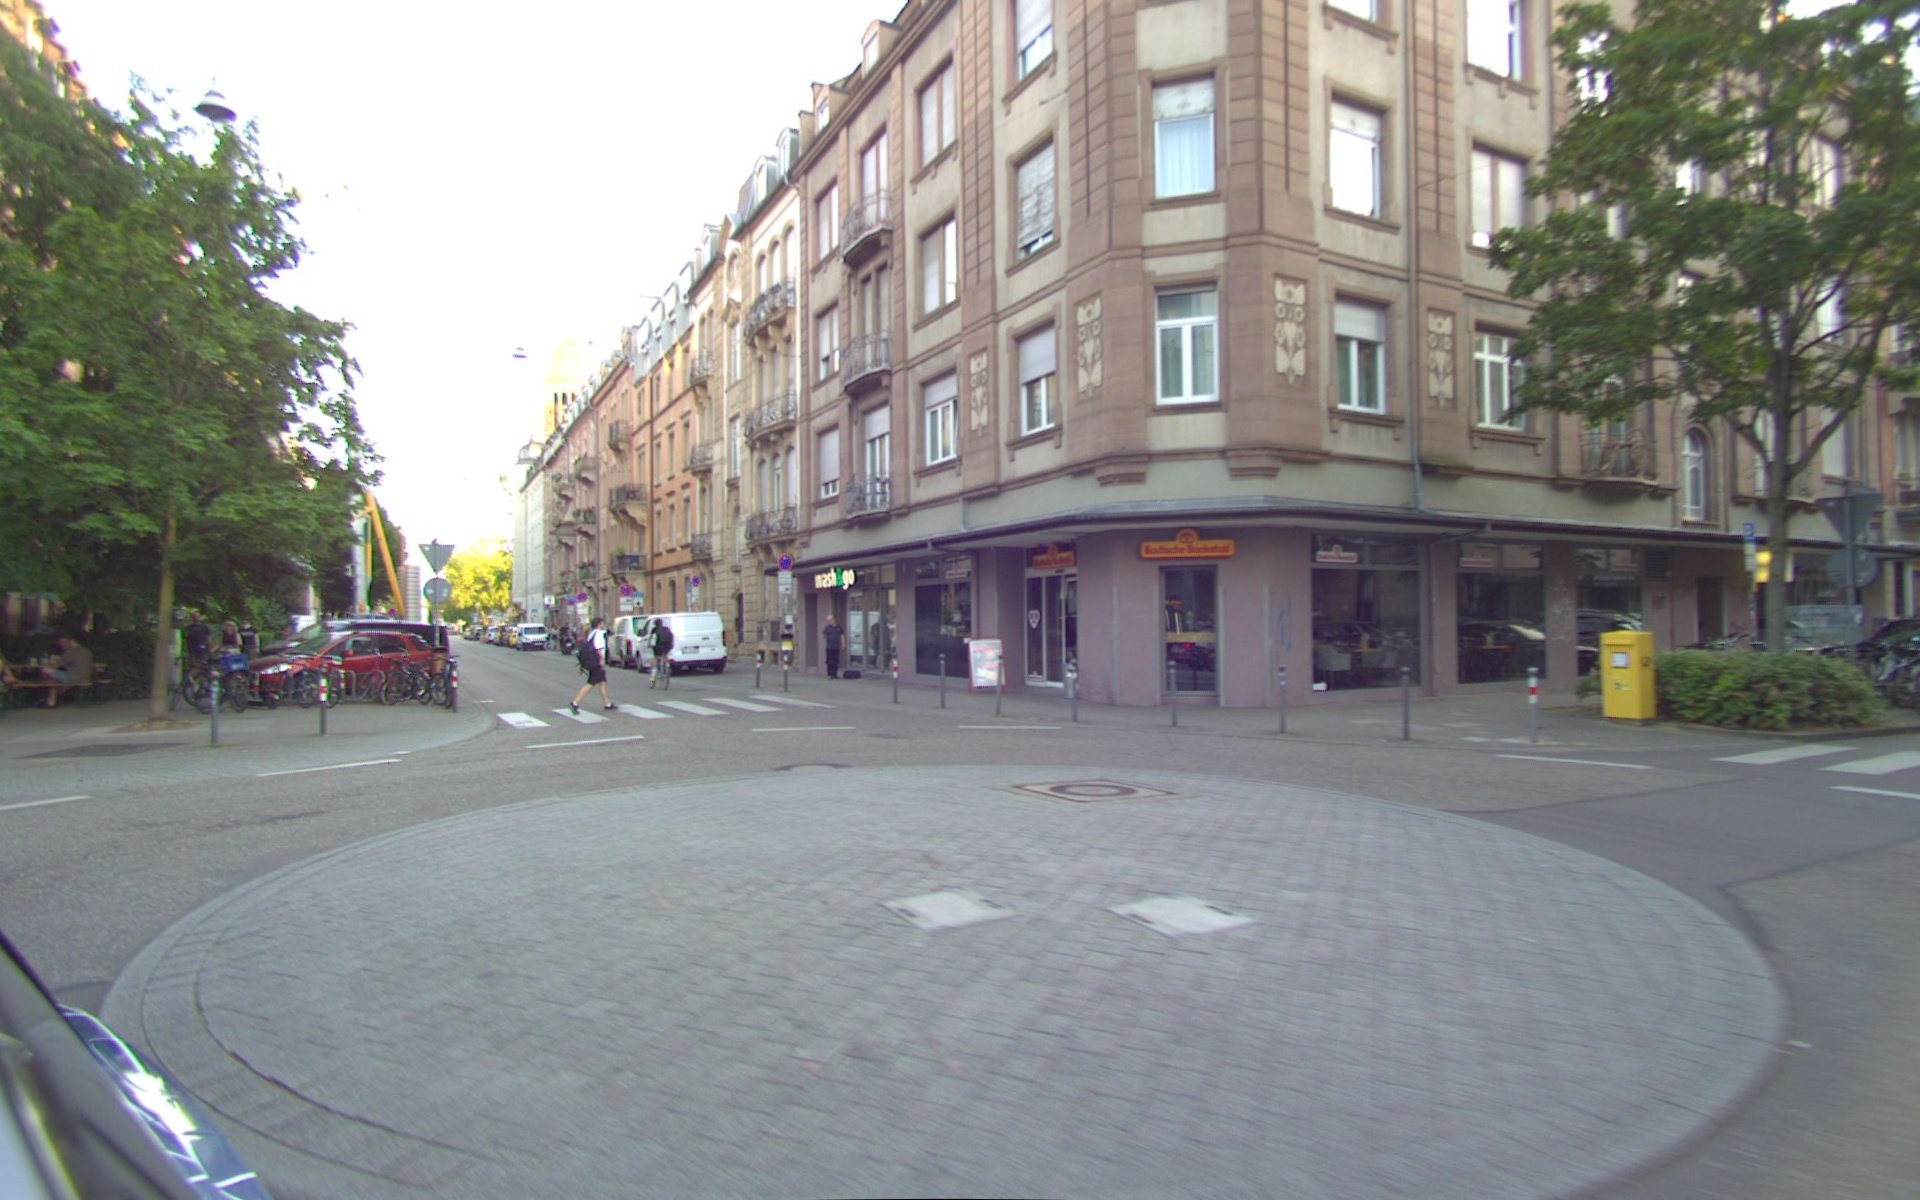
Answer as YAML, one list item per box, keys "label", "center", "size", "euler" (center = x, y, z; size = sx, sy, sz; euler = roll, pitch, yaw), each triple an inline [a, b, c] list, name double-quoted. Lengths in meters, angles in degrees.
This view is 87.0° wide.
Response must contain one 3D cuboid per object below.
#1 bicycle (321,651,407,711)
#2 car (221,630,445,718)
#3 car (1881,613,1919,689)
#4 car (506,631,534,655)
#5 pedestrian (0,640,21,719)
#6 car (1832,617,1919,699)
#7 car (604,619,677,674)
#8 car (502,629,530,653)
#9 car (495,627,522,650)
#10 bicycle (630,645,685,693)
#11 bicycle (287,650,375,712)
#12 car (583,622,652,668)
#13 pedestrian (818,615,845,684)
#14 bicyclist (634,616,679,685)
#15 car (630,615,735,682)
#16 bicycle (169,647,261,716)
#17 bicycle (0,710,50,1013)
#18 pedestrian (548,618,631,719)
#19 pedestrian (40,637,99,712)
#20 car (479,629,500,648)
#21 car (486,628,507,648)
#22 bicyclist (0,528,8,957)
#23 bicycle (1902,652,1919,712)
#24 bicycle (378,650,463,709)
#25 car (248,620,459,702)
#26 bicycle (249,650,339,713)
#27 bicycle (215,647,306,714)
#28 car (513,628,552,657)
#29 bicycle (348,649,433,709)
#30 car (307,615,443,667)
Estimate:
- label: "bicycle"
  center: [-12.255, 1.633, 20.786]
  size: [2.110, 1.140, 0.658]
  euler: [-1, -3, 34]
- label: "car"
  center: [-14.085, 1.587, 22.952]
  size: [1.821, 1.680, 3.959]
  euler: [-1, 0, 30]
- label: "car"
  center: [20.797, 1.036, 19.596]
  size: [1.820, 1.522, 4.012]
  euler: [1, -1, -30]
- label: "car"
  center: [-33.773, 3.266, 77.682]
  size: [1.810, 1.654, 3.938]
  euler: [-1, 0, -26]
- label: "pedestrian"
  center: [-16.056, 1.315, 16.638]
  size: [0.633, 1.282, 0.673]
  euler: [-1, 0, 10]
- label: "car"
  center: [18.546, 1.069, 18.412]
  size: [1.692, 1.488, 3.698]
  euler: [1, -1, -29]
- label: "car"
  center: [-12.133, 1.708, 38.288]
  size: [1.848, 1.918, 4.340]
  euler: [-1, -1, -28]
- label: "car"
  center: [-35.691, 3.271, 81.300]
  size: [1.965, 1.752, 4.013]
  euler: [-1, 0, -26]
- label: "car"
  center: [-38.133, 3.231, 85.484]
  size: [1.965, 1.752, 4.013]
  euler: [-1, 0, -26]
- label: "bicycle"
  center: [-7.597, 1.698, 25.330]
  size: [0.742, 1.139, 1.981]
  euler: [0, -2, -34]
- label: "bicycle"
  center: [-12.583, 1.596, 20.212]
  size: [2.110, 1.140, 0.658]
  euler: [-1, -3, 34]
- label: "car"
  center: [-14.839, 1.900, 43.663]
  size: [2.106, 1.835, 4.554]
  euler: [-1, -1, -28]
- label: "pedestrian"
  center: [-3.440, 1.309, 27.051]
  size: [0.645, 1.792, 0.693]
  euler: [-2, -2, -11]
- label: "bicyclist"
  center: [-7.615, 1.256, 25.348]
  size: [0.742, 1.653, 1.204]
  euler: [0, -2, -35]
- label: "car"
  center: [-9.138, 1.520, 33.044]
  size: [2.106, 1.973, 4.784]
  euler: [-1, -1, -30]
- label: "bicycle"
  center: [-13.656, 1.466, 18.532]
  size: [2.110, 1.174, 0.658]
  euler: [-1, -3, 34]
- label: "bicycle"
  center: [-3.478, 0.948, 3.011]
  size: [0.647, 1.026, 1.924]
  euler: [-1, 0, -26]
- label: "pedestrian"
  center: [-6.806, 1.234, 18.620]
  size: [0.748, 1.757, 1.198]
  euler: [-2, -1, 36]
- label: "pedestrian"
  center: [-16.311, 1.341, 18.533]
  size: [0.751, 1.315, 0.711]
  euler: [-2, -2, 41]
- label: "car"
  center: [-48.283, 3.910, 103.890]
  size: [1.877, 1.752, 3.862]
  euler: [-1, 0, -26]
- label: "car"
  center: [-45.355, 3.720, 99.014]
  size: [1.837, 1.752, 3.812]
  euler: [-1, 0, -26]
- label: "bicyclist"
  center: [-3.509, 0.503, 3.074]
  size: [0.639, 1.520, 0.956]
  euler: [-1, 0, -26]
- label: "bicycle"
  center: [15.459, 1.266, 15.864]
  size: [1.464, 0.902, 0.478]
  euler: [-1, 0, -25]
- label: "bicycle"
  center: [-11.512, 1.668, 21.585]
  size: [2.110, 1.178, 0.658]
  euler: [-1, -3, 34]
- label: "car"
  center: [-18.158, 1.733, 30.548]
  size: [2.113, 2.113, 5.084]
  euler: [-1, 0, 36]
- label: "bicycle"
  center: [-12.923, 1.550, 19.617]
  size: [2.110, 1.140, 0.658]
  euler: [-1, -3, 34]
- label: "bicycle"
  center: [-13.236, 1.490, 19.119]
  size: [2.110, 1.174, 0.658]
  euler: [-1, -3, 34]
- label: "car"
  center: [-28.926, 2.830, 68.442]
  size: [2.106, 1.835, 4.555]
  euler: [-1, -1, -27]
- label: "bicycle"
  center: [-12.062, 1.654, 21.428]
  size: [2.110, 1.178, 0.658]
  euler: [-1, -3, 34]
- label: "car"
  center: [-27.787, 1.895, 48.225]
  size: [2.334, 2.211, 5.084]
  euler: [-1, 0, 36]
